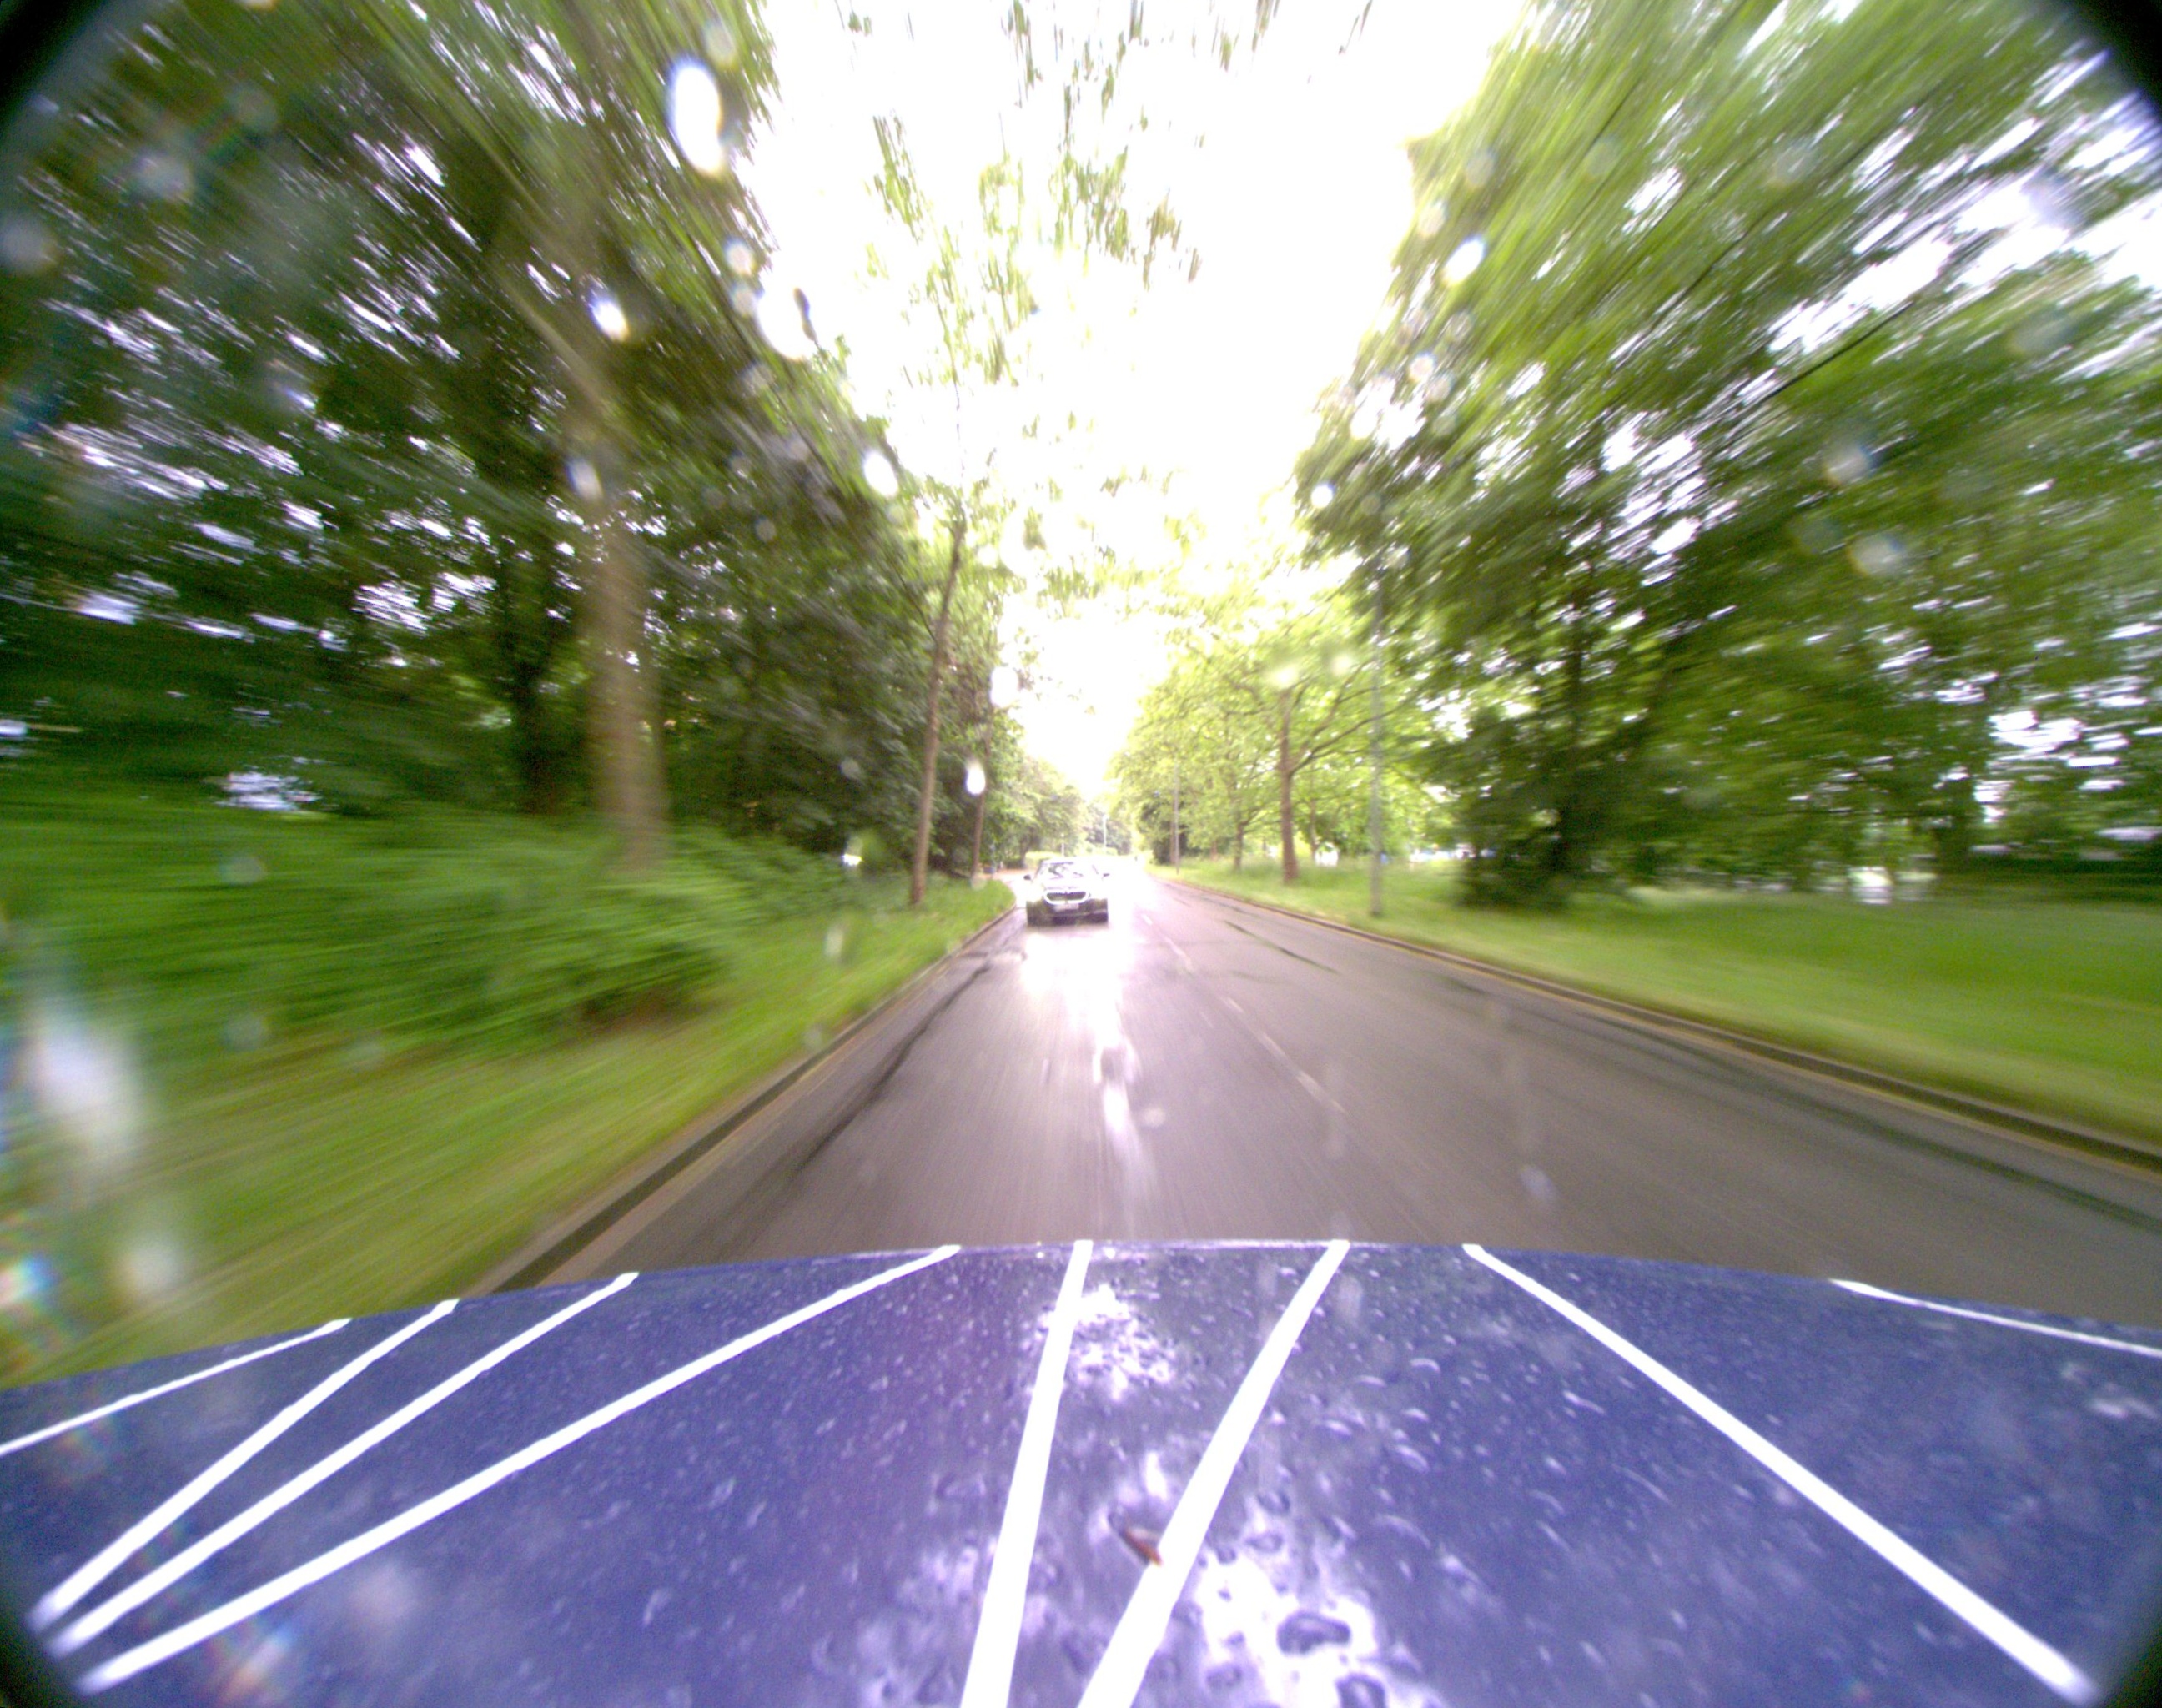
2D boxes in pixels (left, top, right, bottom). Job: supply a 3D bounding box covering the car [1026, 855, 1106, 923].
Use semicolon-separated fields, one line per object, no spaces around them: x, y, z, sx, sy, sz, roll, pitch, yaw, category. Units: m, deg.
-0.304;0.836;20.366;1.832;1.499;4.498;-3;0;1;car
